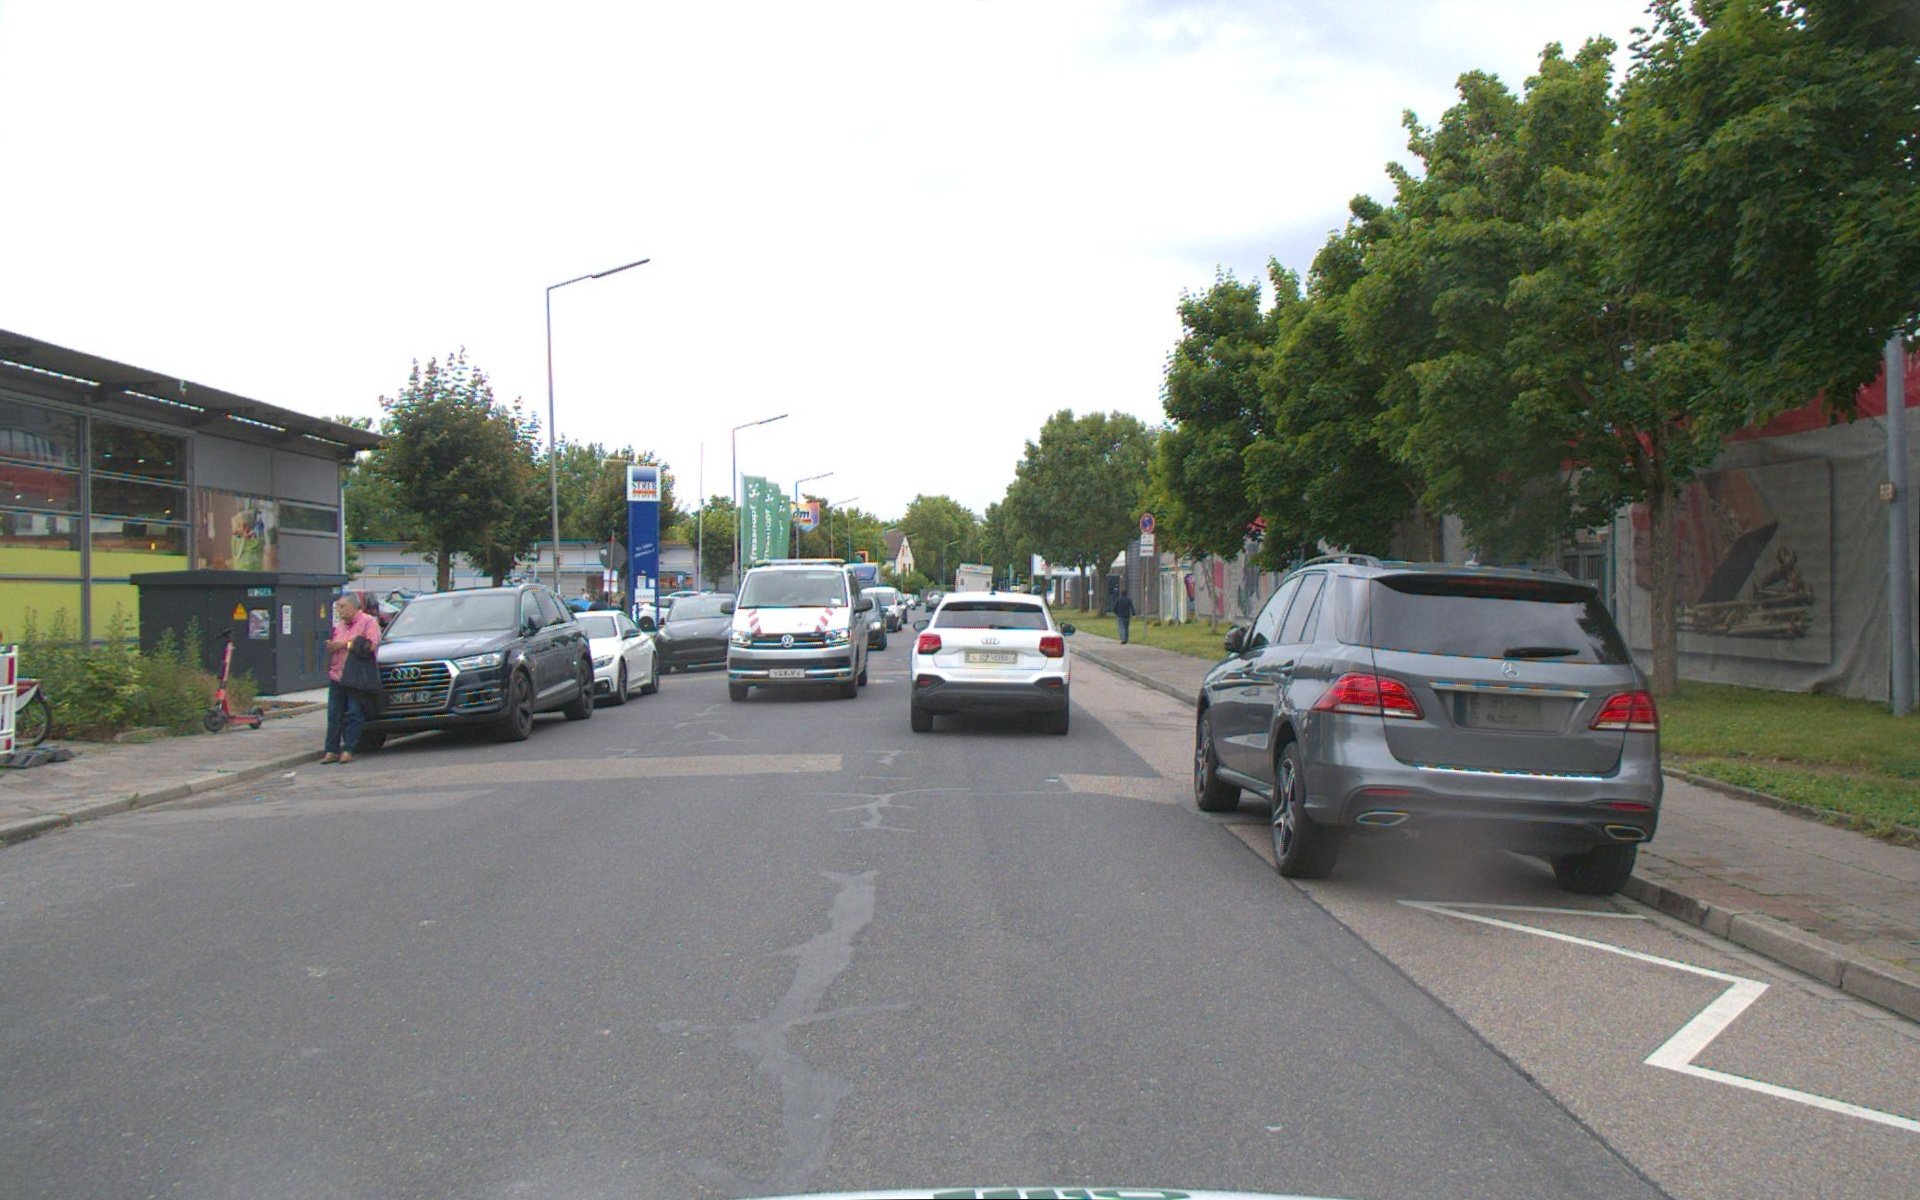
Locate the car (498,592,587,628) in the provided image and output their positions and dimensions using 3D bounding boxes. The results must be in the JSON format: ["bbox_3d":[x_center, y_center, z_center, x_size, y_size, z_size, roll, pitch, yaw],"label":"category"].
[{"bbox_3d":[-20.624,0.475,81.818,3.906,1.698,1.876,-1,0,-1],"label":"car"}]

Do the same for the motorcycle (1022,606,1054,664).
[{"bbox_3d":[1.704,0.753,36.240,0.627,1.199,2.114,-1,0,1],"label":"motorcycle"}]

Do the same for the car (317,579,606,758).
[{"bbox_3d":[-5.651,0.696,19.433,1.827,1.721,4.729,-4,0,0],"label":"car"}]

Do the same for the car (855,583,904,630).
[{"bbox_3d":[-3.259,0.260,67.432,1.655,1.791,4.135,-2,0,1],"label":"car"}]

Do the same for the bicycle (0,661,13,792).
[{"bbox_3d":[-8.398,1.058,13.116,0.532,1.096,1.902,0,-1,5],"label":"bicycle"}]

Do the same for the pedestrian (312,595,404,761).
[{"bbox_3d":[-6.198,0.787,17.049,0.659,1.650,0.653,-2,0,0],"label":"pedestrian"}]

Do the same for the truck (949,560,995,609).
[{"bbox_3d":[0.878,-1.142,129.002,3.072,3.647,10.046,1,0,-2],"label":"truck"}]

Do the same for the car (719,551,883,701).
[{"bbox_3d":[-2.312,0.374,25.356,1.887,2.049,4.956,1,0,1],"label":"car"}]

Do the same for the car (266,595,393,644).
[{"bbox_3d":[-23.132,0.708,60.797,3.906,1.698,1.876,-1,0,-1],"label":"car"}]

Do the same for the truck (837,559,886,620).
[{"bbox_3d":[-6.785,-0.751,114.984,2.913,4.025,6.404,-2,0,0],"label":"truck"}]

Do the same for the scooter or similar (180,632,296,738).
[{"bbox_3d":[-8.734,1.005,20.083,0.648,1.177,1.642,-1,0,1],"label":"scooter or similar"}]

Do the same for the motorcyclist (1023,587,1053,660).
[{"bbox_3d":[1.707,0.512,36.181,0.612,1.581,0.604,-1,0,1],"label":"motorcyclist"}]

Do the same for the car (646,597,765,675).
[{"bbox_3d":[-5.470,0.728,36.062,1.907,1.553,4.402,-1,0,0],"label":"car"}]

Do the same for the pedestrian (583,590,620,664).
[{"bbox_3d":[-8.468,0.635,39.058,0.760,1.745,0.696,0,0,-5],"label":"pedestrian"}]

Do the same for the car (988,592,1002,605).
[{"bbox_3d":[4.715,-0.160,223.993,1.848,1.713,4.254,2,0,0],"label":"car"}]

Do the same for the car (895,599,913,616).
[{"bbox_3d":[-5.264,0.685,155.808,1.566,1.554,3.527,-2,0,0],"label":"car"}]

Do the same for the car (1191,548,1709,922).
[{"bbox_3d":[2.738,0.659,10.416,1.870,1.771,4.480,2,0,0],"label":"car"}]

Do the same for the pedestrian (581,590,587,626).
[{"bbox_3d":[-18.277,0.387,80.373,0.258,1.760,0.421,0,0,-13],"label":"pedestrian"}]

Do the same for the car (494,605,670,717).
[{"bbox_3d":[-5.743,0.871,25.629,1.665,1.391,4.517,-5,0,-1],"label":"car"}]

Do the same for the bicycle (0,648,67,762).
[{"bbox_3d":[-9.791,1.001,16.358,1.627,1.064,0.392,4,0,-3],"label":"bicycle"}]

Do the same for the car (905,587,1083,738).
[{"bbox_3d":[0.357,0.650,19.475,1.848,1.558,4.254,1,0,0],"label":"car"}]

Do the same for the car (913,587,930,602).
[{"bbox_3d":[-4.707,-0.664,200.397,1.740,1.684,3.743,1,0,-7],"label":"car"}]

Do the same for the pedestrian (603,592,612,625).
[{"bbox_3d":[-16.924,0.410,79.413,0.353,1.597,0.502,0,0,-14],"label":"pedestrian"}]

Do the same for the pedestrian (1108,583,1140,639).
[{"bbox_3d":[5.009,0.341,50.554,0.900,1.663,0.853,1,-1,1],"label":"pedestrian"}]

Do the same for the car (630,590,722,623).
[{"bbox_3d":[-13.058,0.296,76.234,4.056,1.489,1.896,-1,0,-6],"label":"car"}]

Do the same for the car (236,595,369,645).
[{"bbox_3d":[-23.074,0.693,58.135,3.906,1.698,1.876,-1,0,-1],"label":"car"}]

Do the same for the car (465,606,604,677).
[{"bbox_3d":[-12.792,1.232,49.879,3.855,2.049,1.758,0,0,-8],"label":"car"}]

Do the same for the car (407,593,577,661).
[{"bbox_3d":[-12.001,0.675,42.582,3.794,1.649,1.927,1,0,-1],"label":"car"}]

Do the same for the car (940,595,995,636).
[{"bbox_3d":[0.252,0.535,60.680,1.898,1.391,3.999,-1,0,-1],"label":"car"}]

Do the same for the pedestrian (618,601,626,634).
[{"bbox_3d":[-16.330,0.840,79.920,0.324,1.597,0.502,-1,0,-14],"label":"pedestrian"}]

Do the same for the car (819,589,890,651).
[{"bbox_3d":[-2.904,0.523,46.176,1.694,1.599,3.946,-2,0,0],"label":"car"}]

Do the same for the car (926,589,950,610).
[{"bbox_3d":[-1.861,-0.046,136.641,1.832,1.691,3.998,-1,0,-2],"label":"car"}]

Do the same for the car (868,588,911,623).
[{"bbox_3d":[-3.651,0.255,86.395,1.893,1.713,4.496,-2,0,1],"label":"car"}]
